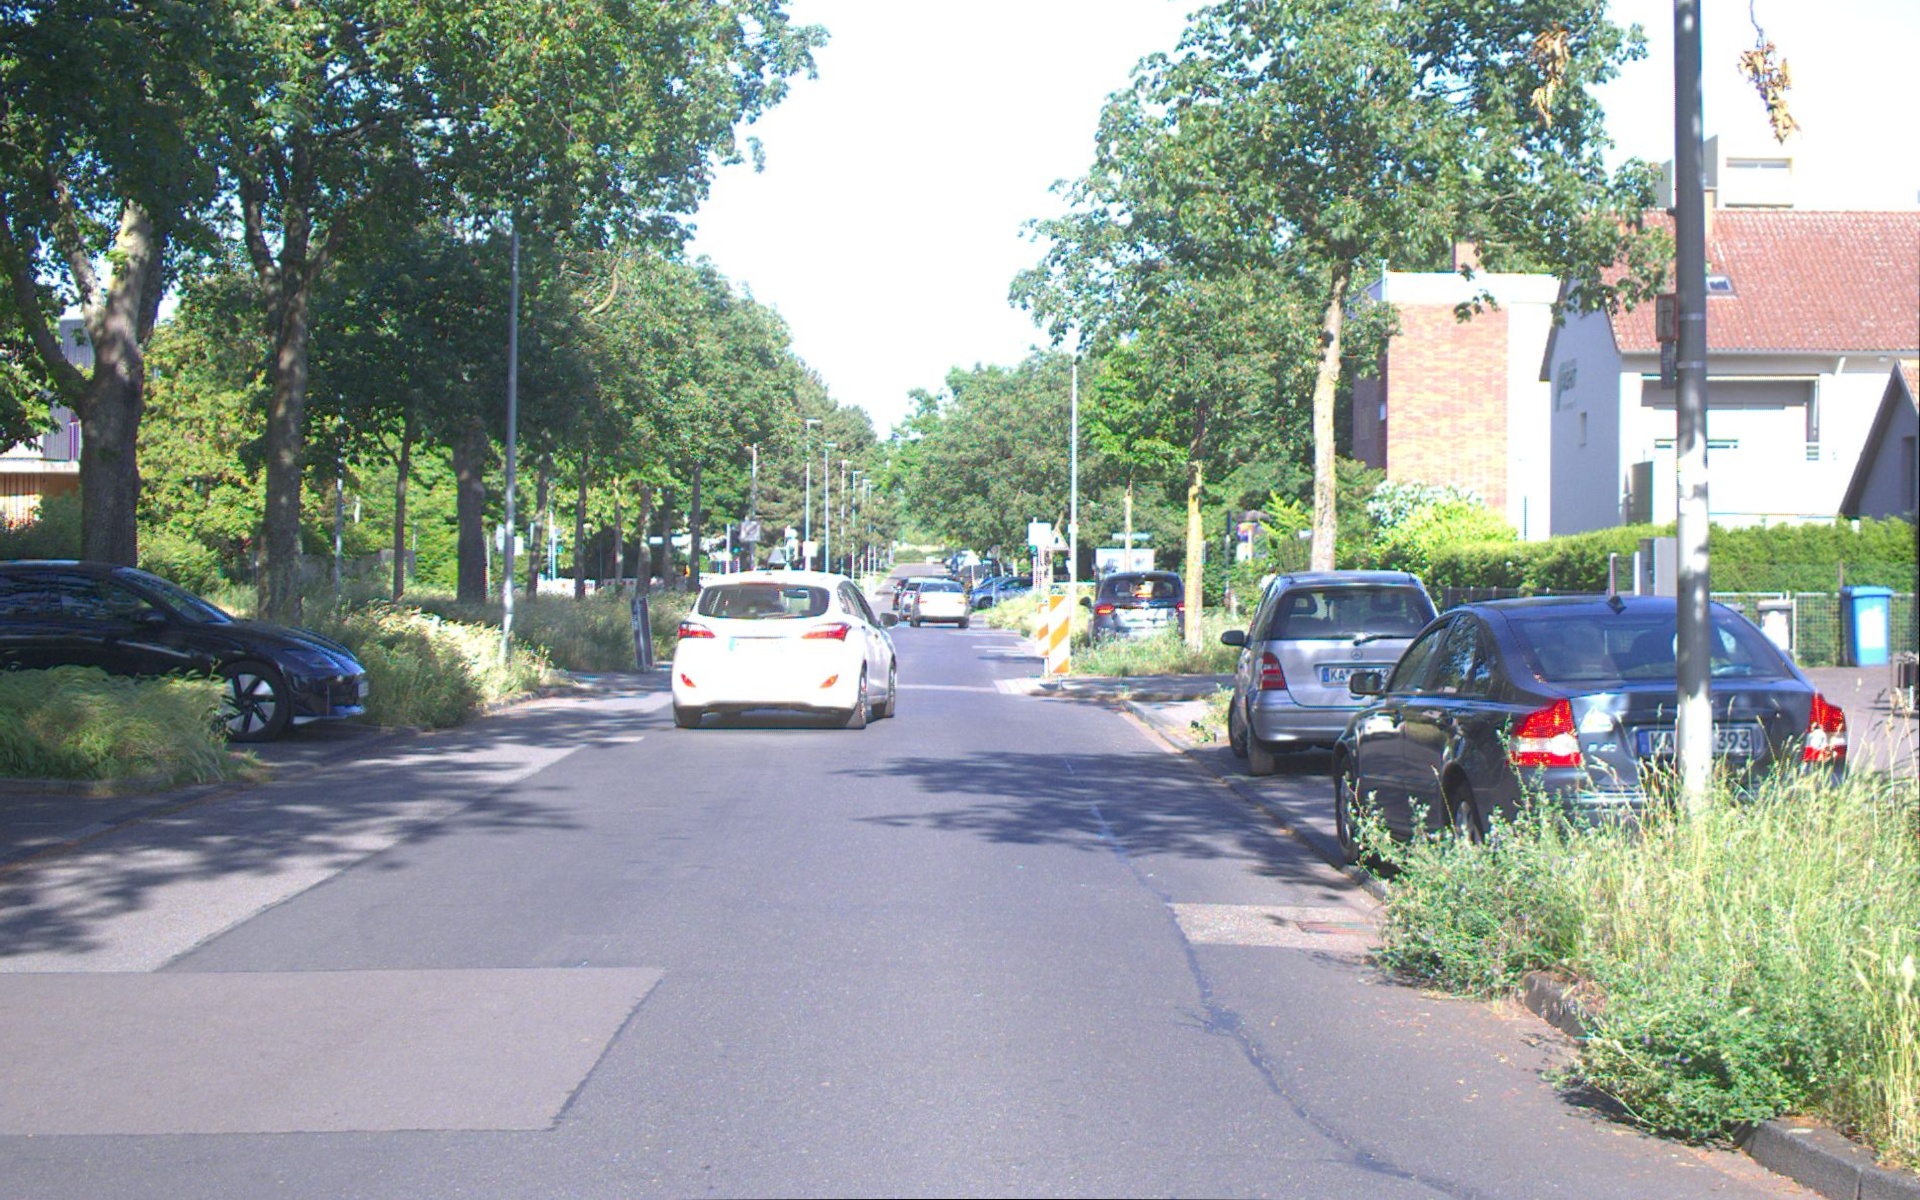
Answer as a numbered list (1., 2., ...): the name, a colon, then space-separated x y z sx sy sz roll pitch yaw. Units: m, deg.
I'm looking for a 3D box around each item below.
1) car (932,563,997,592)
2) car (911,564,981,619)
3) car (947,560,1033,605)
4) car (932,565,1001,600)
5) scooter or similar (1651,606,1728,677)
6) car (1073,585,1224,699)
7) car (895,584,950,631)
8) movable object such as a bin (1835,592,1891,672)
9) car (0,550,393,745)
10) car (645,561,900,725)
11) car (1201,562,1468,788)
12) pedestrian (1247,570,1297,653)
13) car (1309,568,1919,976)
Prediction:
1. car: 0.266 -1.407 215.883 3.986 1.744 2.000 1 1 -3
2. car: -0.442 -0.271 104.253 1.993 1.503 3.658 4 0 0
3. car: 1.415 -0.836 163.552 3.986 2.007 2.000 2 -1 -1
4. car: 0.375 -1.067 205.612 3.986 2.007 2.000 1 0 -1
5. scooter or similar: 9.216 0.523 43.468 0.368 0.855 1.412 1 1 -14
6. car: 2.981 0.656 55.156 1.993 1.722 4.000 -1 0 -3
7. car: -1.308 0.236 120.004 1.816 1.503 3.658 4 0 0
8. movable object such as a bin: 11.897 0.421 45.314 0.493 1.028 0.747 -2 0 -1
9. car: -7.287 0.375 29.959 4.367 1.526 1.808 2 0 -1
10. car: -1.741 0.368 33.396 1.994 1.450 4.224 1 1 3
11. car: 2.995 0.558 28.255 1.610 1.616 4.382 4 0 0
12. pedestrian: 7.668 0.275 84.423 1.112 2.007 0.922 1 1 0
13. car: 3.193 0.724 16.762 1.993 1.616 4.382 4 0 -6
